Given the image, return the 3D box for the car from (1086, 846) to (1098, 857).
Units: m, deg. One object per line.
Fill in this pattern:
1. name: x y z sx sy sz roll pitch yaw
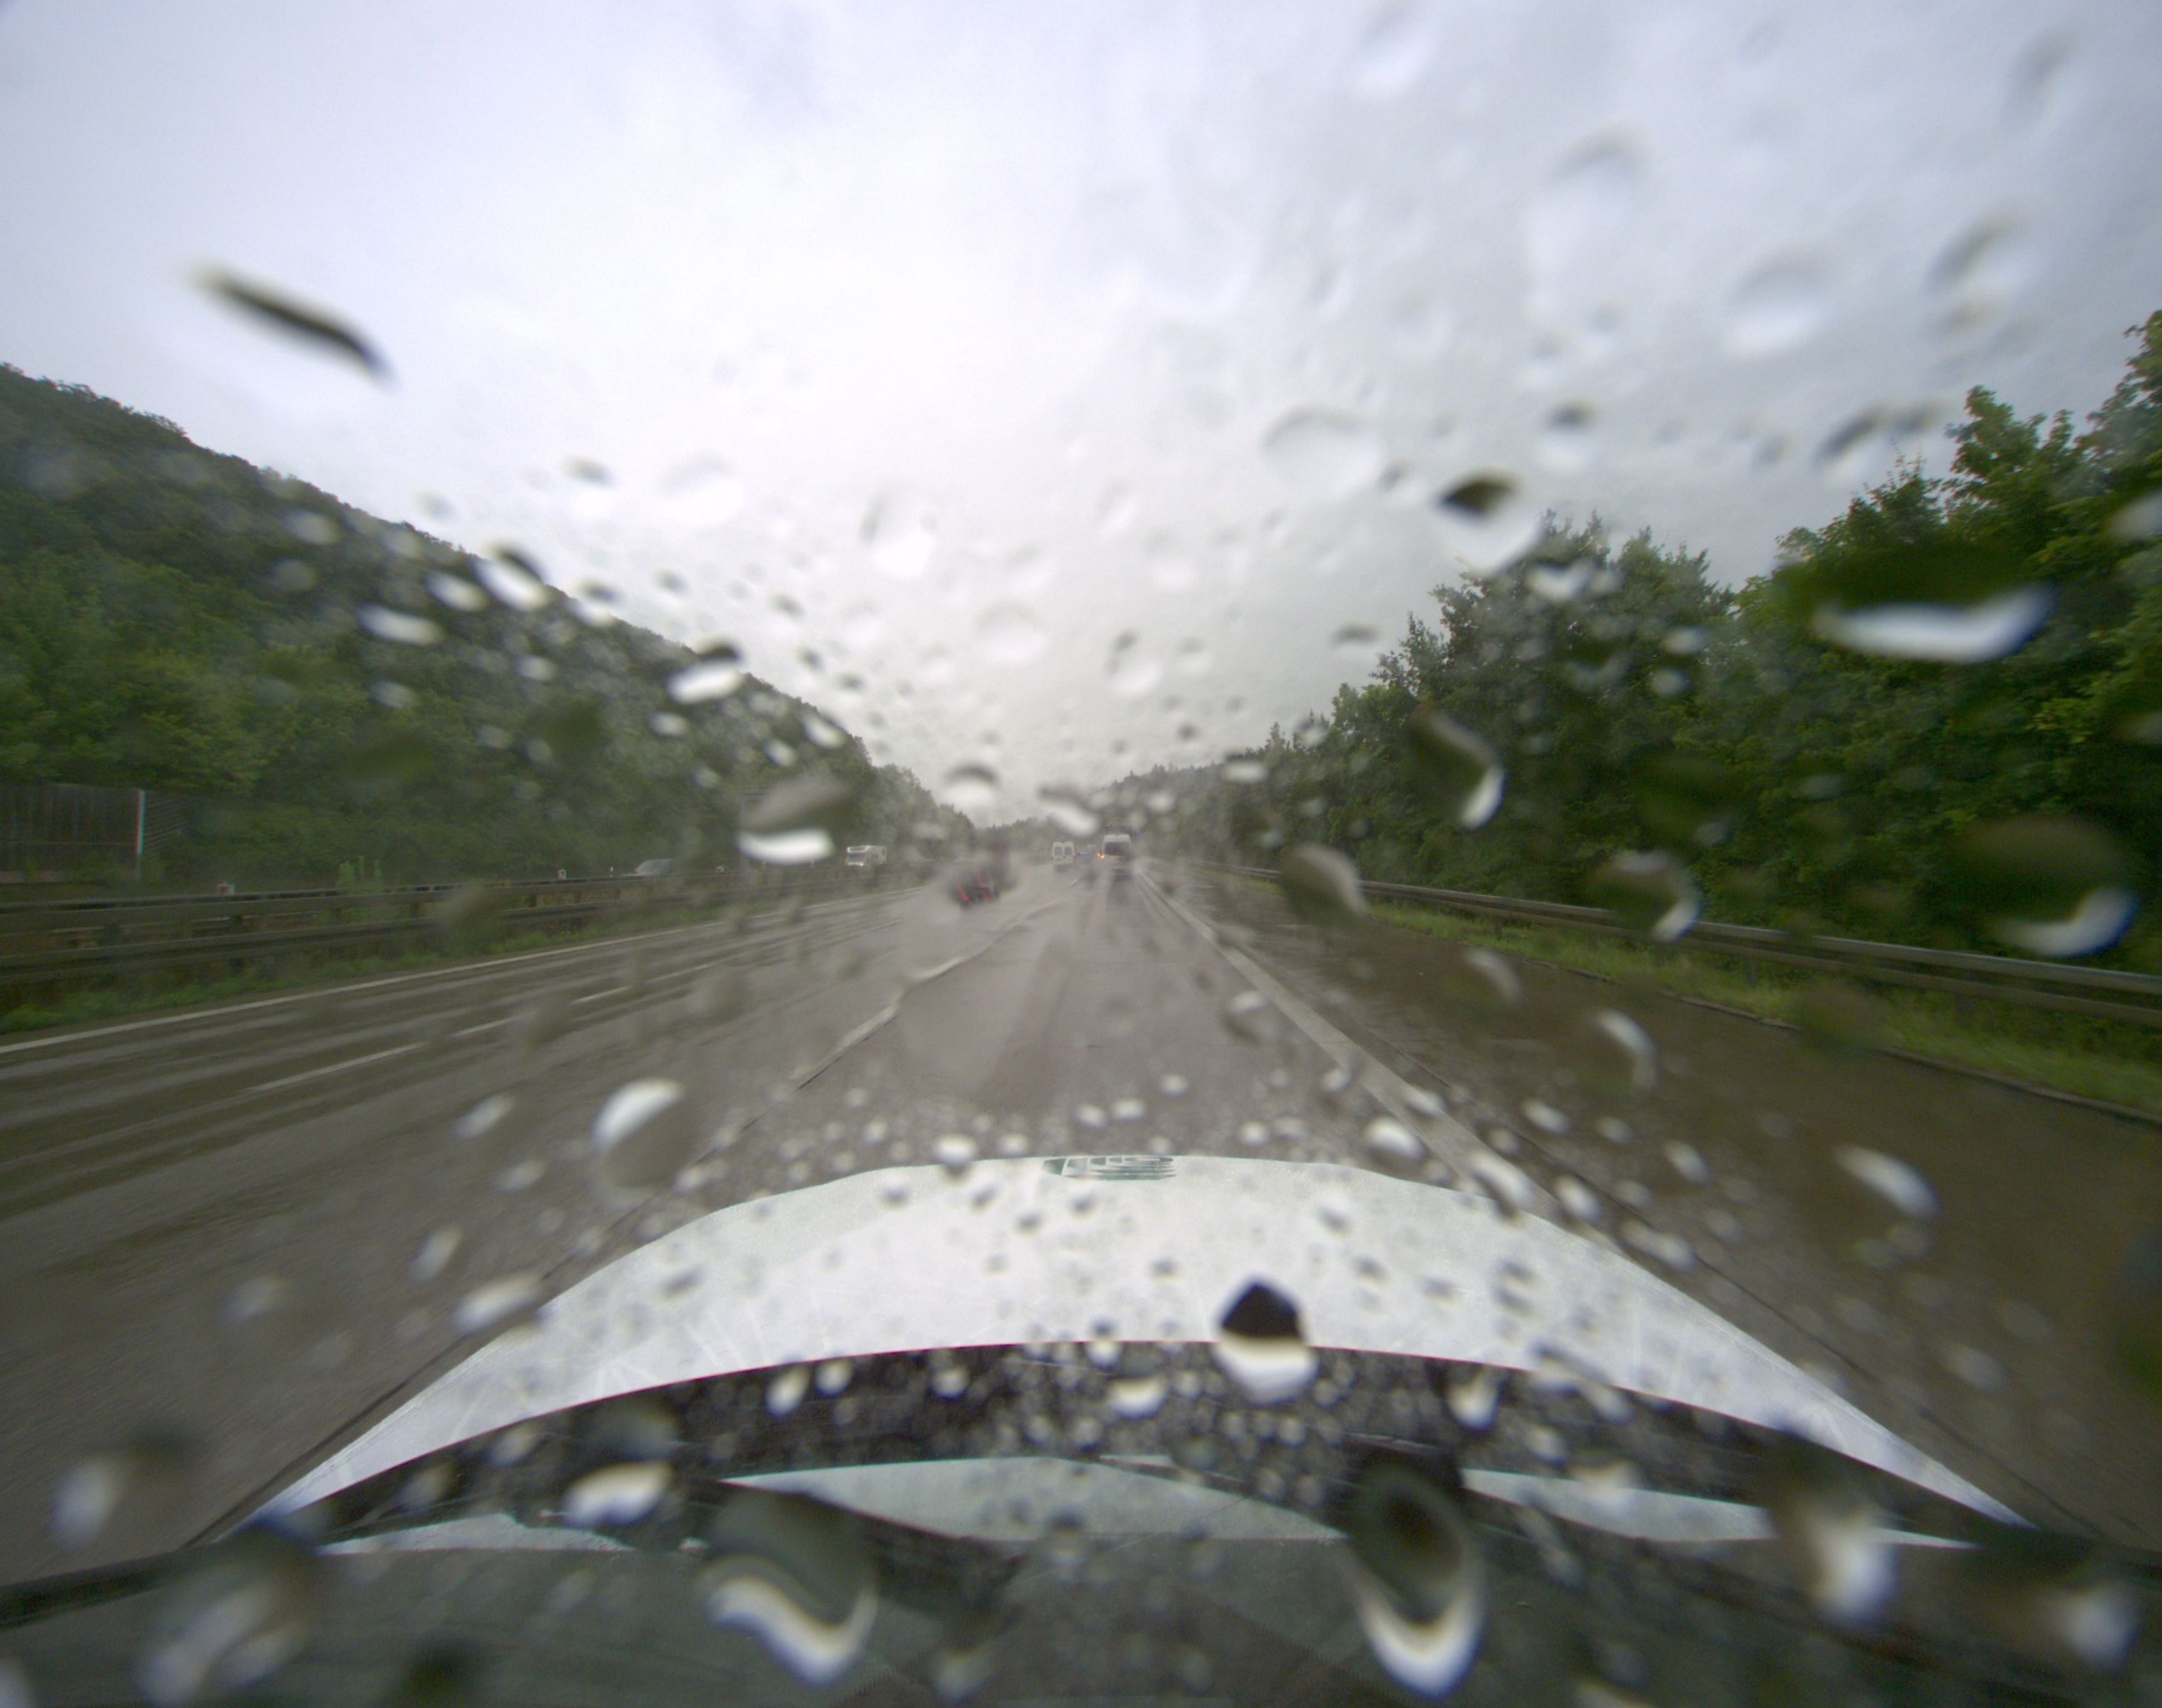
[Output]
1. car: 1.854 -0.419 136.490 1.862 1.810 4.189 0 0 1

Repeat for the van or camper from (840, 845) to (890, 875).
1. van or camper: -21.185 0.518 80.225 2.546 2.718 7.504 -1 0 3

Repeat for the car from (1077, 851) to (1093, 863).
1. car: 0.474 0.356 97.715 1.851 1.339 4.349 0 0 -1

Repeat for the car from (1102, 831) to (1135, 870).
1. car: 2.323 -0.212 51.349 1.893 2.333 5.252 0 0 1

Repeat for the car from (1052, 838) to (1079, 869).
1. car: -1.250 -0.052 68.424 1.991 2.431 5.792 0 0 1

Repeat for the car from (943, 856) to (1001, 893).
1. car: -4.470 0.817 33.999 1.735 1.388 4.322 -2 0 1

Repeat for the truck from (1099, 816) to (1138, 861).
1. truck: 3.628 -1.598 79.344 3.372 3.967 8.672 -3 2 2
